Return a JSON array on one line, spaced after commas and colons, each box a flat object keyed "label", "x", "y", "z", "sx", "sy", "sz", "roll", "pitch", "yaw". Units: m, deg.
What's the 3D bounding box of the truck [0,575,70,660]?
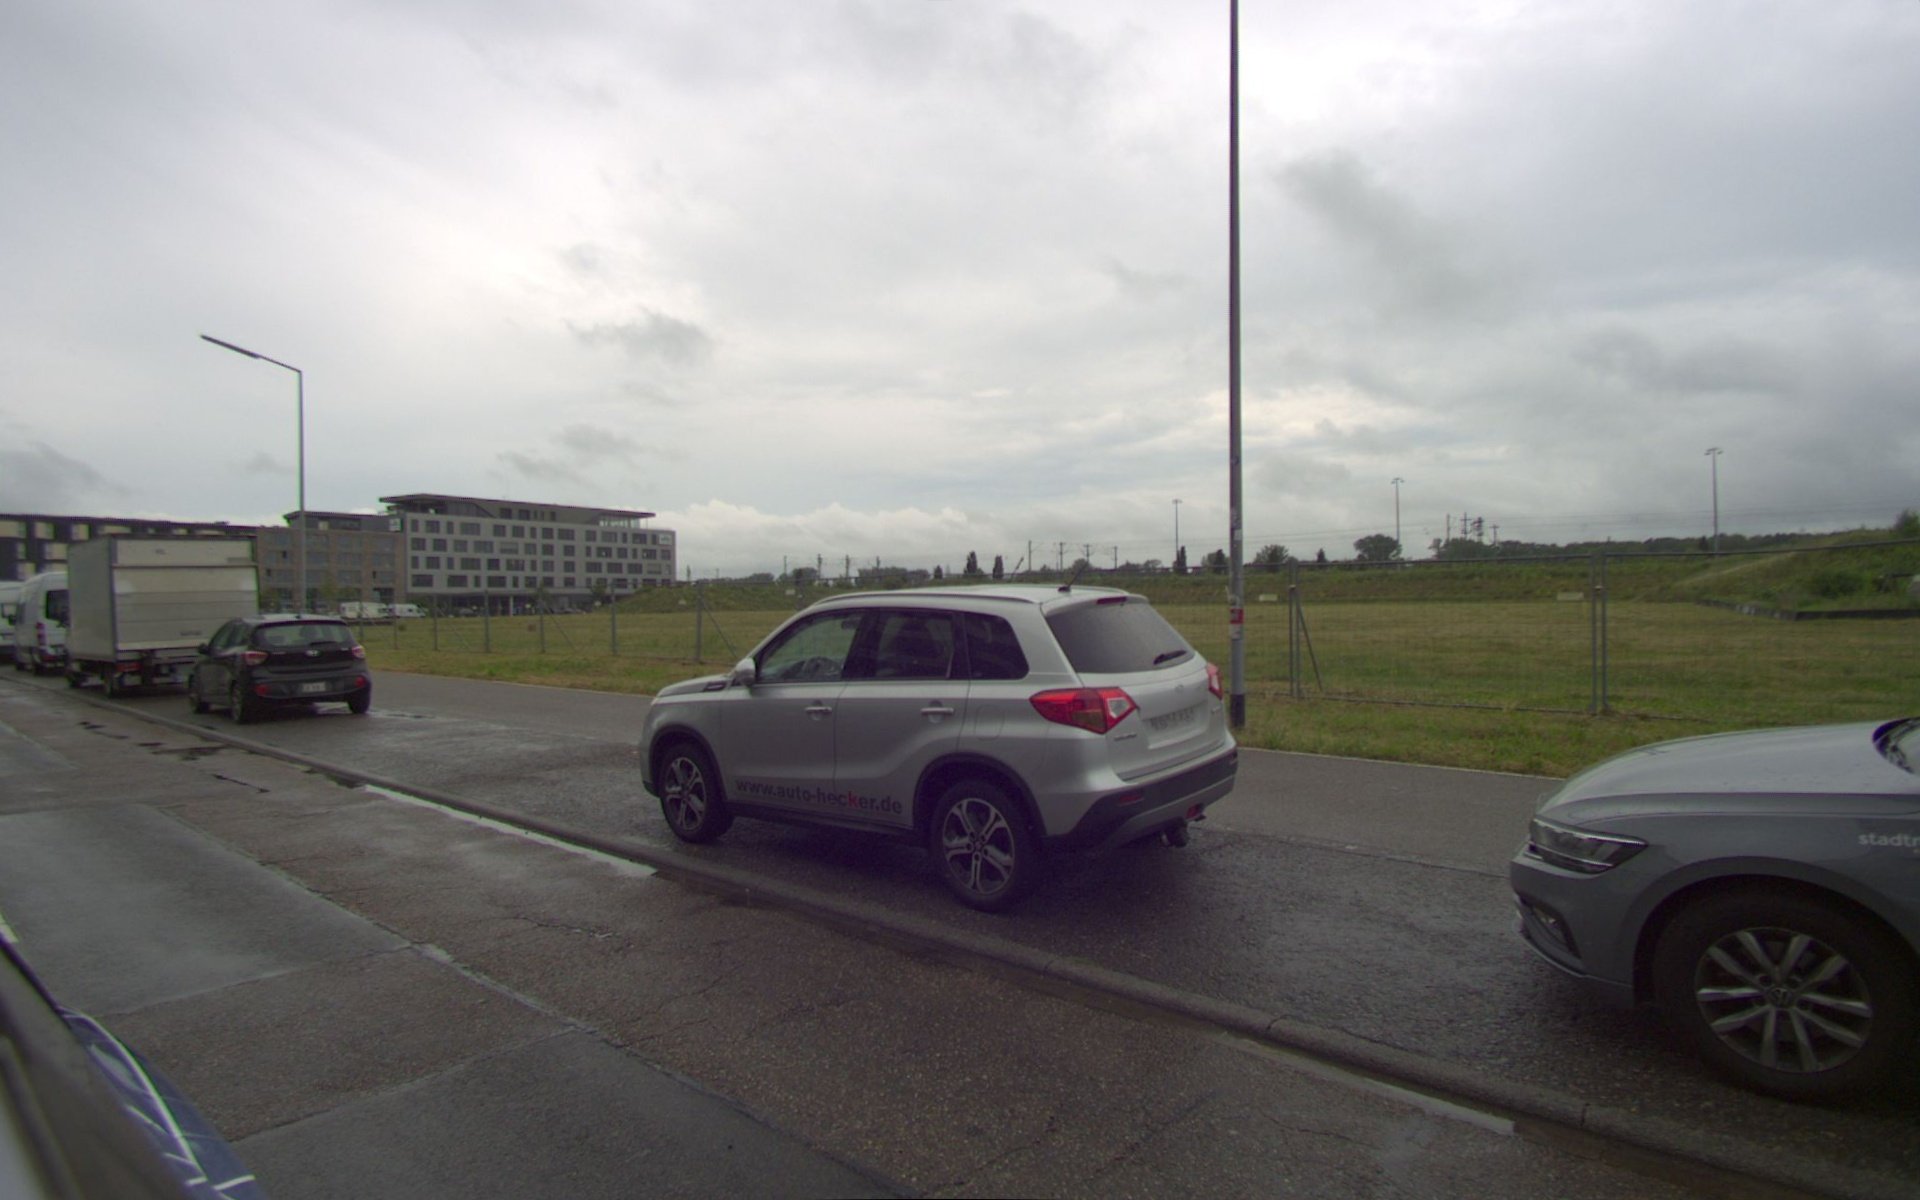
[{"label": "truck", "x": -31.680, "y": 0.585, "z": 33.765, "sx": 6.128, "sy": 2.626, "sz": 2.152, "roll": -1, "pitch": 0, "yaw": 41}]

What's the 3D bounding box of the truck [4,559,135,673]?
[{"label": "truck", "x": -24.549, "y": 0.403, "z": 27.784, "sx": 6.738, "sy": 2.787, "sz": 2.018, "roll": -1, "pitch": 1, "yaw": 43}]

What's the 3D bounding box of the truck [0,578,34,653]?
[{"label": "truck", "x": -37.080, "y": 0.602, "z": 38.475, "sx": 5.287, "sy": 2.767, "sz": 2.152, "roll": -1, "pitch": 0, "yaw": 41}]

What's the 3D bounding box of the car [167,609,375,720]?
[{"label": "car", "x": -10.674, "y": 0.894, "z": 15.564, "sx": 4.154, "sy": 1.474, "sz": 1.655, "roll": -1, "pitch": 0, "yaw": 41}]

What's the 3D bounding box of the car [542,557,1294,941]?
[{"label": "car", "x": -0.599, "y": 0.653, "z": 6.687, "sx": 4.985, "sy": 1.619, "sz": 1.834, "roll": -1, "pitch": 3, "yaw": 40}]

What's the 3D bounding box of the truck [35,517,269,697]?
[{"label": "truck", "x": -16.524, "y": 0.132, "z": 20.513, "sx": 6.695, "sy": 3.091, "sz": 2.411, "roll": -1, "pitch": 1, "yaw": 40}]

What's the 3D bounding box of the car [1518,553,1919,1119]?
[{"label": "car", "x": 4.232, "y": 0.616, "z": 2.556, "sx": 4.668, "sy": 1.540, "sz": 1.819, "roll": 0, "pitch": 2, "yaw": 41}]
